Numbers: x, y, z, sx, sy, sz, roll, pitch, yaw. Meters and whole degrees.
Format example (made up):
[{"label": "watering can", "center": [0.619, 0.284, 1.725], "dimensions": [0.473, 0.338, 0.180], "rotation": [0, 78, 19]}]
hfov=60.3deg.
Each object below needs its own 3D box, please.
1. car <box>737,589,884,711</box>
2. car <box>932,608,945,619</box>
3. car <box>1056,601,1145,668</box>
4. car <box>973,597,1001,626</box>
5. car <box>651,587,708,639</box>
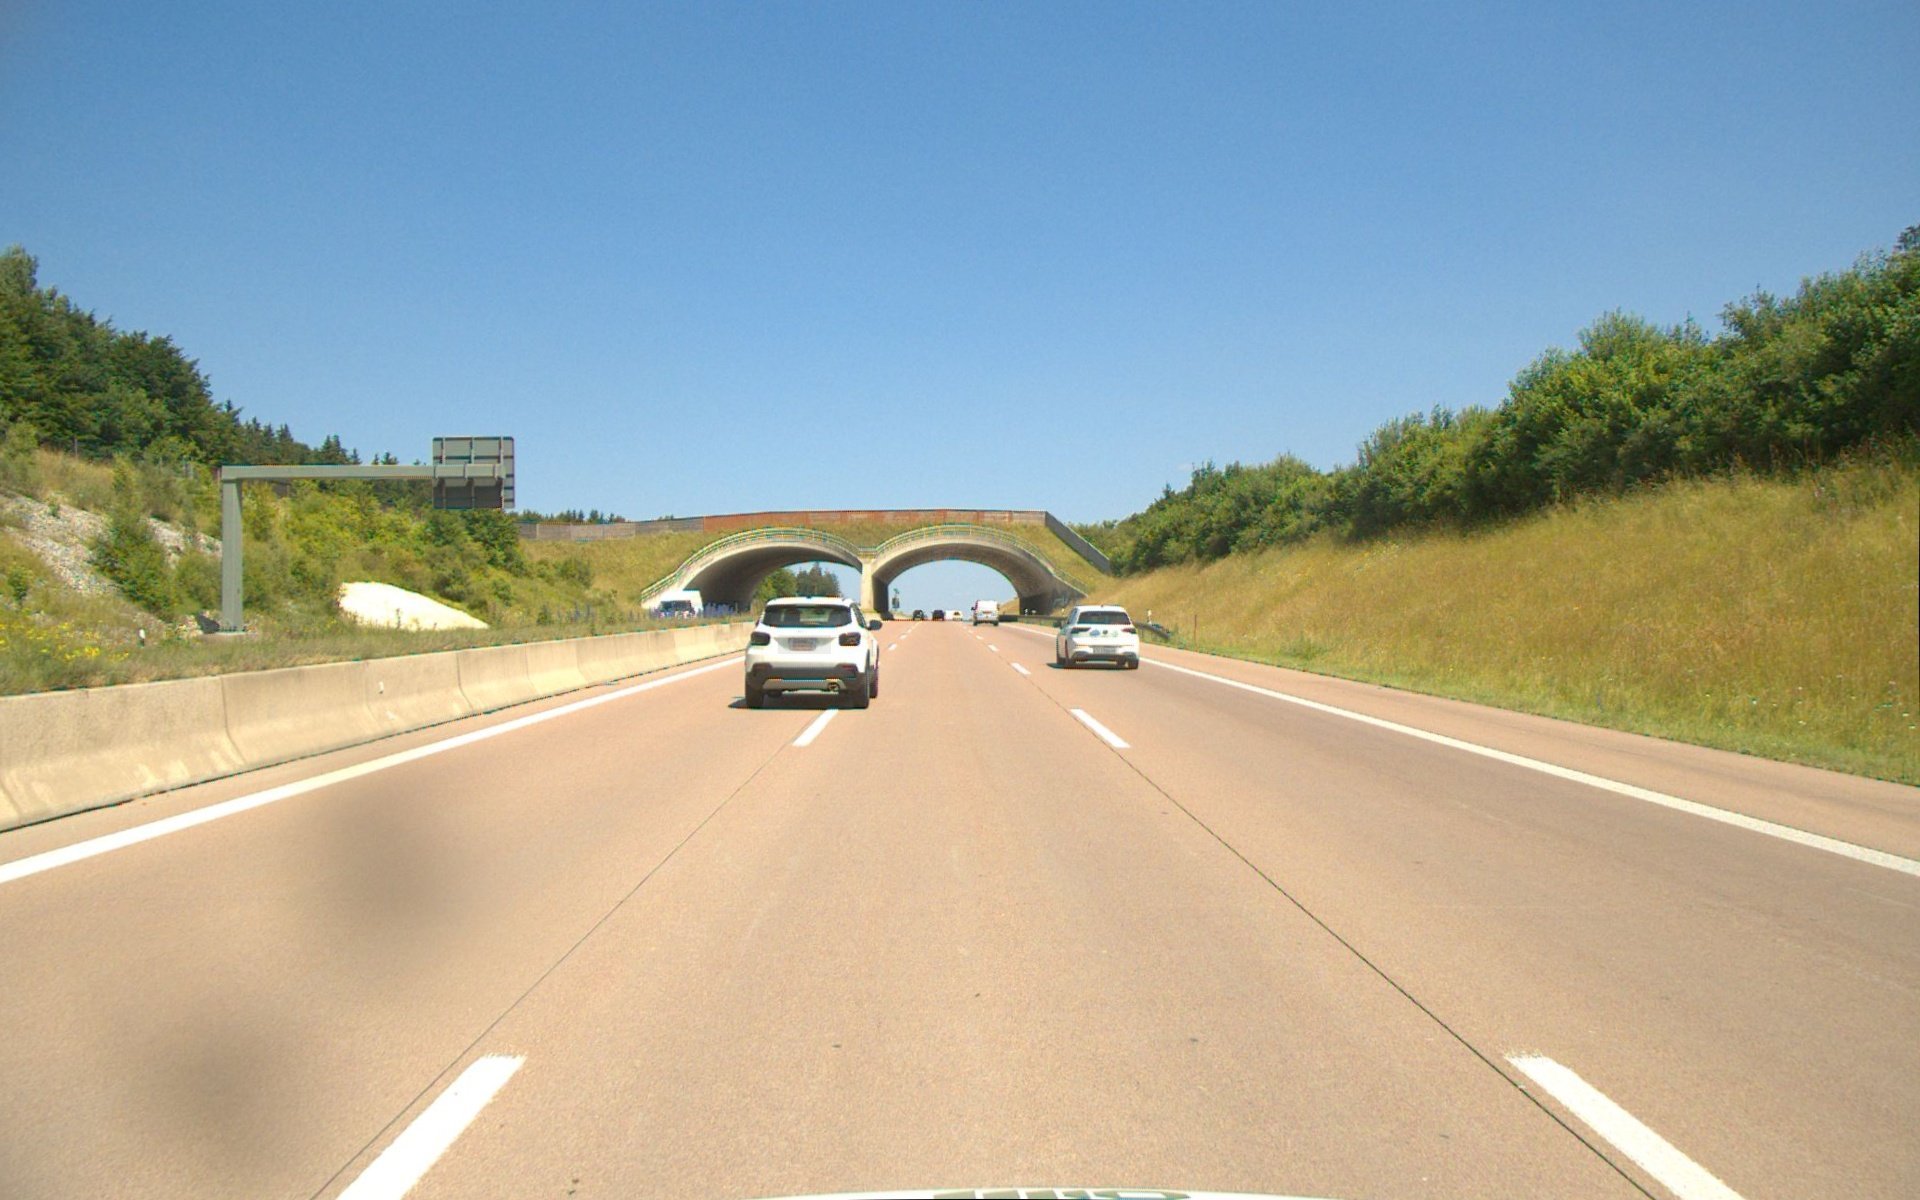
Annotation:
[{"label": "car", "center": [-2.136, 0.665, 24.807], "dimensions": [1.841, 1.635, 4.833], "rotation": [0, 0, -1]}, {"label": "car", "center": [-3.096, 1.972, 240.639], "dimensions": [1.852, 1.489, 4.000], "rotation": [1, 0, -1]}, {"label": "car", "center": [3.317, 0.790, 39.689], "dimensions": [1.852, 1.422, 4.001], "rotation": [1, 1, 1]}, {"label": "car", "center": [2.021, 0.848, 125.542], "dimensions": [2.067, 2.089, 4.001], "rotation": [0, 1, 1]}, {"label": "car", "center": [-17.367, 0.754, 102.784], "dimensions": [2.361, 3.021, 7.501], "rotation": [0, 1, -1]}]
